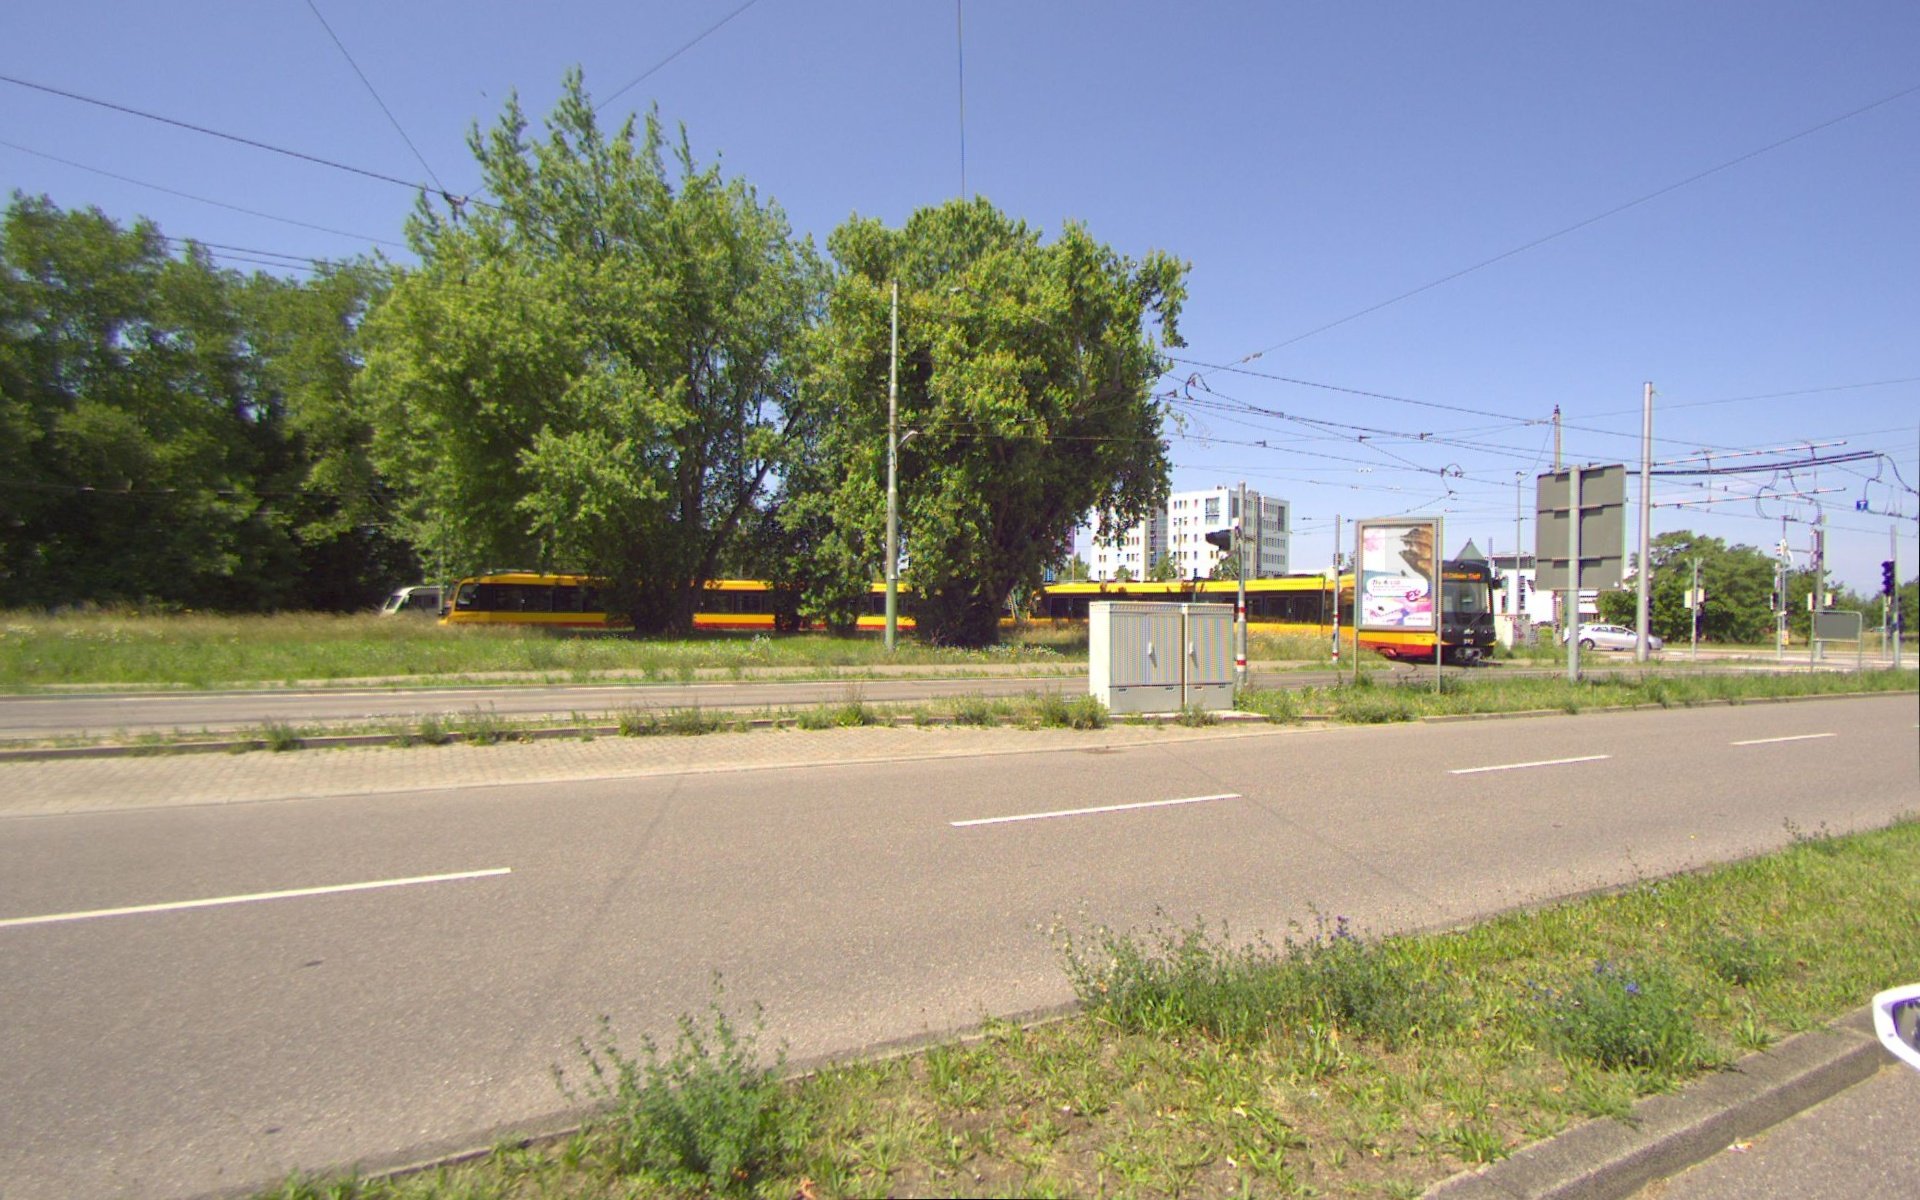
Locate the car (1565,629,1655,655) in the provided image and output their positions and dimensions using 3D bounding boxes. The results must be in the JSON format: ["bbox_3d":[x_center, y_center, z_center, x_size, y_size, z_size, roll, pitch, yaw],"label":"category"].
[{"bbox_3d":[37.092,2.393,57.489,4.205,1.311,1.996,1,0,30],"label":"car"}]

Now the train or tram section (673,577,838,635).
[{"bbox_3d":[-13.188,0.403,64.905,10.071,3.512,3.031,1,1,-21],"label":"train or tram section"}]

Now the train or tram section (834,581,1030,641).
[{"bbox_3d":[-1.754,0.681,66.107,12.492,3.512,3.048,2,1,7],"label":"train or tram section"}]

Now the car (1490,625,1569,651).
[{"bbox_3d":[35.437,2.366,62.518,4.205,1.431,1.895,1,0,31],"label":"car"}]

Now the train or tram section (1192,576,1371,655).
[{"bbox_3d":[15.685,0.634,50.270,2.999,3.512,10.179,1,1,-19],"label":"train or tram section"}]

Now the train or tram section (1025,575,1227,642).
[{"bbox_3d":[9.568,0.357,60.012,3.025,3.512,12.585,1,1,-43],"label":"train or tram section"}]

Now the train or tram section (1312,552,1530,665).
[{"bbox_3d":[16.901,0.210,38.404,2.985,3.512,13.296,2,1,4],"label":"train or tram section"}]

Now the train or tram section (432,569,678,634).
[{"bbox_3d":[-23.531,0.141,59.119,13.133,3.512,3.016,1,1,-35],"label":"train or tram section"}]

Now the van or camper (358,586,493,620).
[{"bbox_3d":[-33.844,0.219,63.839,1.971,2.040,7.317,2,1,42],"label":"van or camper"}]
